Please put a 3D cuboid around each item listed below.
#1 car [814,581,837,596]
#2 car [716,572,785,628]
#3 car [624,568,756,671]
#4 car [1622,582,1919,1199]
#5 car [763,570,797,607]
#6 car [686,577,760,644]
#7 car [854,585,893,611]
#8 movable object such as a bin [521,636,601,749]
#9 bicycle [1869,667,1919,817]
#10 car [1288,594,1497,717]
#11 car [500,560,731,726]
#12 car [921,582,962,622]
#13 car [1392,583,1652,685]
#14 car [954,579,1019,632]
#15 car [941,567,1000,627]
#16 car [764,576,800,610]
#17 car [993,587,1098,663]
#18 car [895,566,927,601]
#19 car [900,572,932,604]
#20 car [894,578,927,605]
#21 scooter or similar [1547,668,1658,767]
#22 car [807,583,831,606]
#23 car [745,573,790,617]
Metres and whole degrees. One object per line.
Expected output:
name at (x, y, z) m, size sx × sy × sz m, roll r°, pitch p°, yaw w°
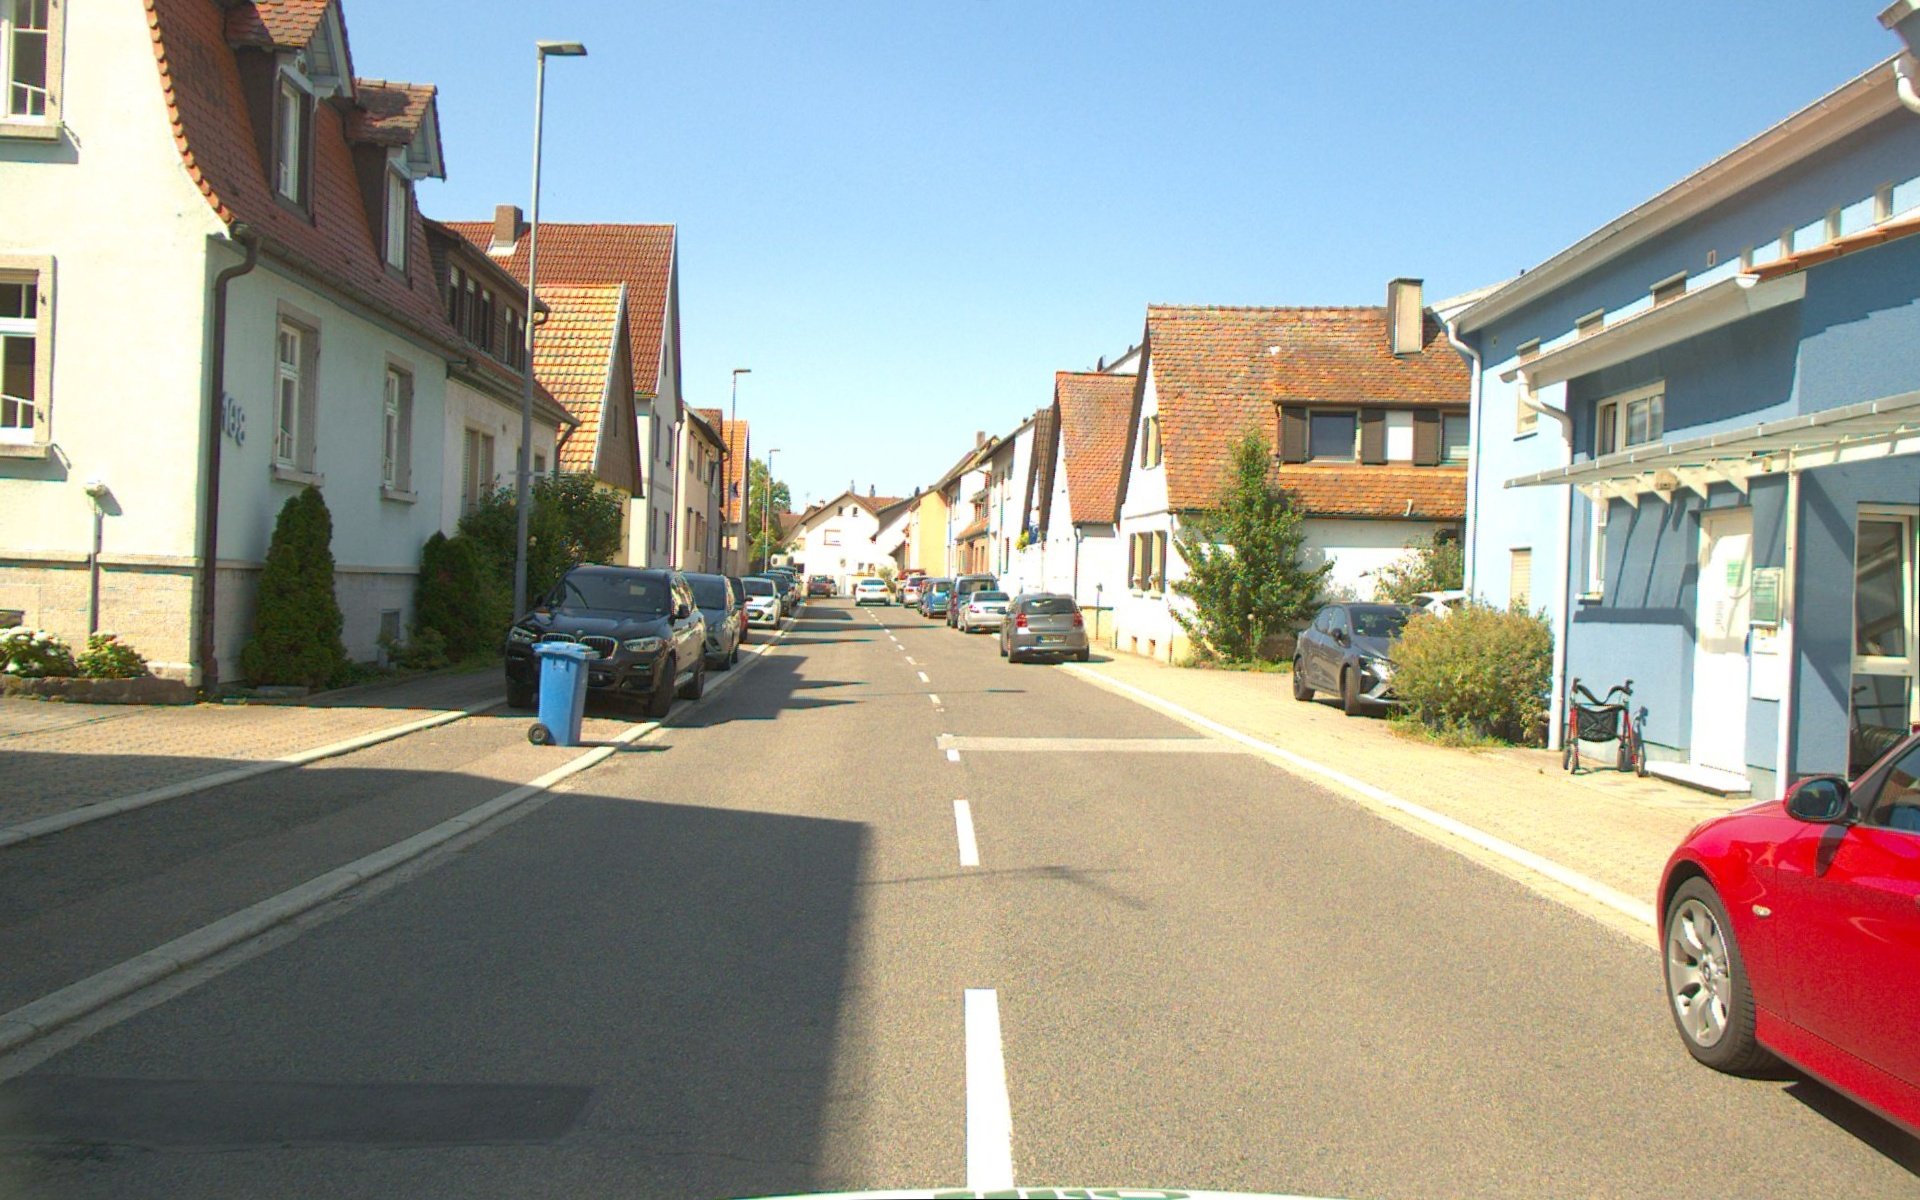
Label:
car at (-11.565, -0.985, 142.520) m, size 1.954 × 1.310 × 3.800 m, roll 1°, pitch 0°, yaw -5°
car at (-6.475, -0.013, 51.573) m, size 1.770 × 1.574 × 4.401 m, roll 3°, pitch 0°, yaw -3°
car at (-4.854, 0.317, 30.279) m, size 1.836 × 1.665 × 4.661 m, roll 3°, pitch 0°, yaw -3°
car at (3.239, 0.740, 3.873) m, size 1.697 × 1.520 × 4.356 m, roll 0°, pitch 1°, yaw 1°
car at (-8.816, -0.573, 81.260) m, size 1.497 × 1.743 × 3.622 m, roll 3°, pitch 0°, yaw -5°
car at (-5.946, 0.240, 41.718) m, size 1.522 × 1.571 × 2.986 m, roll 3°, pitch 0°, yaw -3°
car at (-4.671, -0.119, 88.919) m, size 1.954 × 1.310 × 3.996 m, roll 1°, pitch 0°, yaw -5°
movable object such as a bin at (-3.721, 0.857, 15.443) m, size 0.584 × 0.999 × 0.531 m, roll 3°, pitch 0°, yaw -3°
bicycle at (7.542, 1.000, 11.648) m, size 1.914 × 0.998 × 0.657 m, roll 1°, pitch 0°, yaw 1°
car at (5.719, 0.682, 22.359) m, size 1.655 × 1.444 × 4.145 m, roll 2°, pitch 0°, yaw -1°
car at (-4.079, 0.467, 20.379) m, size 1.882 × 1.696 × 4.664 m, roll 4°, pitch 0°, yaw -2°
car at (-0.775, 0.082, 68.124) m, size 1.393 × 1.541 × 3.300 m, roll 3°, pitch 0°, yaw -5°
car at (10.077, 0.590, 29.869) m, size 4.088 × 1.686 × 1.812 m, roll 1°, pitch 0°, yaw 2°
car at (0.808, 0.155, 52.248) m, size 1.671 × 1.522 × 3.449 m, roll 3°, pitch 0°, yaw -5°
car at (0.325, -0.108, 57.131) m, size 1.617 × 1.943 × 3.622 m, roll 3°, pitch 0°, yaw -5°
car at (-8.120, -0.308, 75.560) m, size 1.474 × 1.478 × 3.506 m, roll 1°, pitch 0°, yaw -4°
car at (1.773, 0.495, 35.510) m, size 1.671 × 1.458 × 3.885 m, roll 3°, pitch 0°, yaw -5°
car at (-2.947, -0.972, 98.905) m, size 1.732 × 2.039 × 3.447 m, roll 1°, pitch 0°, yaw -4°
car at (-2.315, -0.617, 85.795) m, size 1.393 × 1.541 × 3.300 m, roll 3°, pitch 0°, yaw -5°
car at (-2.802, -0.482, 93.906) m, size 1.732 × 1.458 × 3.447 m, roll 1°, pitch 0°, yaw -4°
scooter or similar at (5.843, 1.056, 15.081) m, size 0.712 × 0.829 × 0.828 m, roll 1°, pitch 0°, yaw 3°
car at (-9.799, -0.380, 115.111) m, size 1.570 × 1.515 × 3.622 m, roll 3°, pitch 0°, yaw -5°
car at (-7.541, -0.200, 65.074) m, size 1.587 × 1.605 × 3.957 m, roll 3°, pitch 0°, yaw -5°
